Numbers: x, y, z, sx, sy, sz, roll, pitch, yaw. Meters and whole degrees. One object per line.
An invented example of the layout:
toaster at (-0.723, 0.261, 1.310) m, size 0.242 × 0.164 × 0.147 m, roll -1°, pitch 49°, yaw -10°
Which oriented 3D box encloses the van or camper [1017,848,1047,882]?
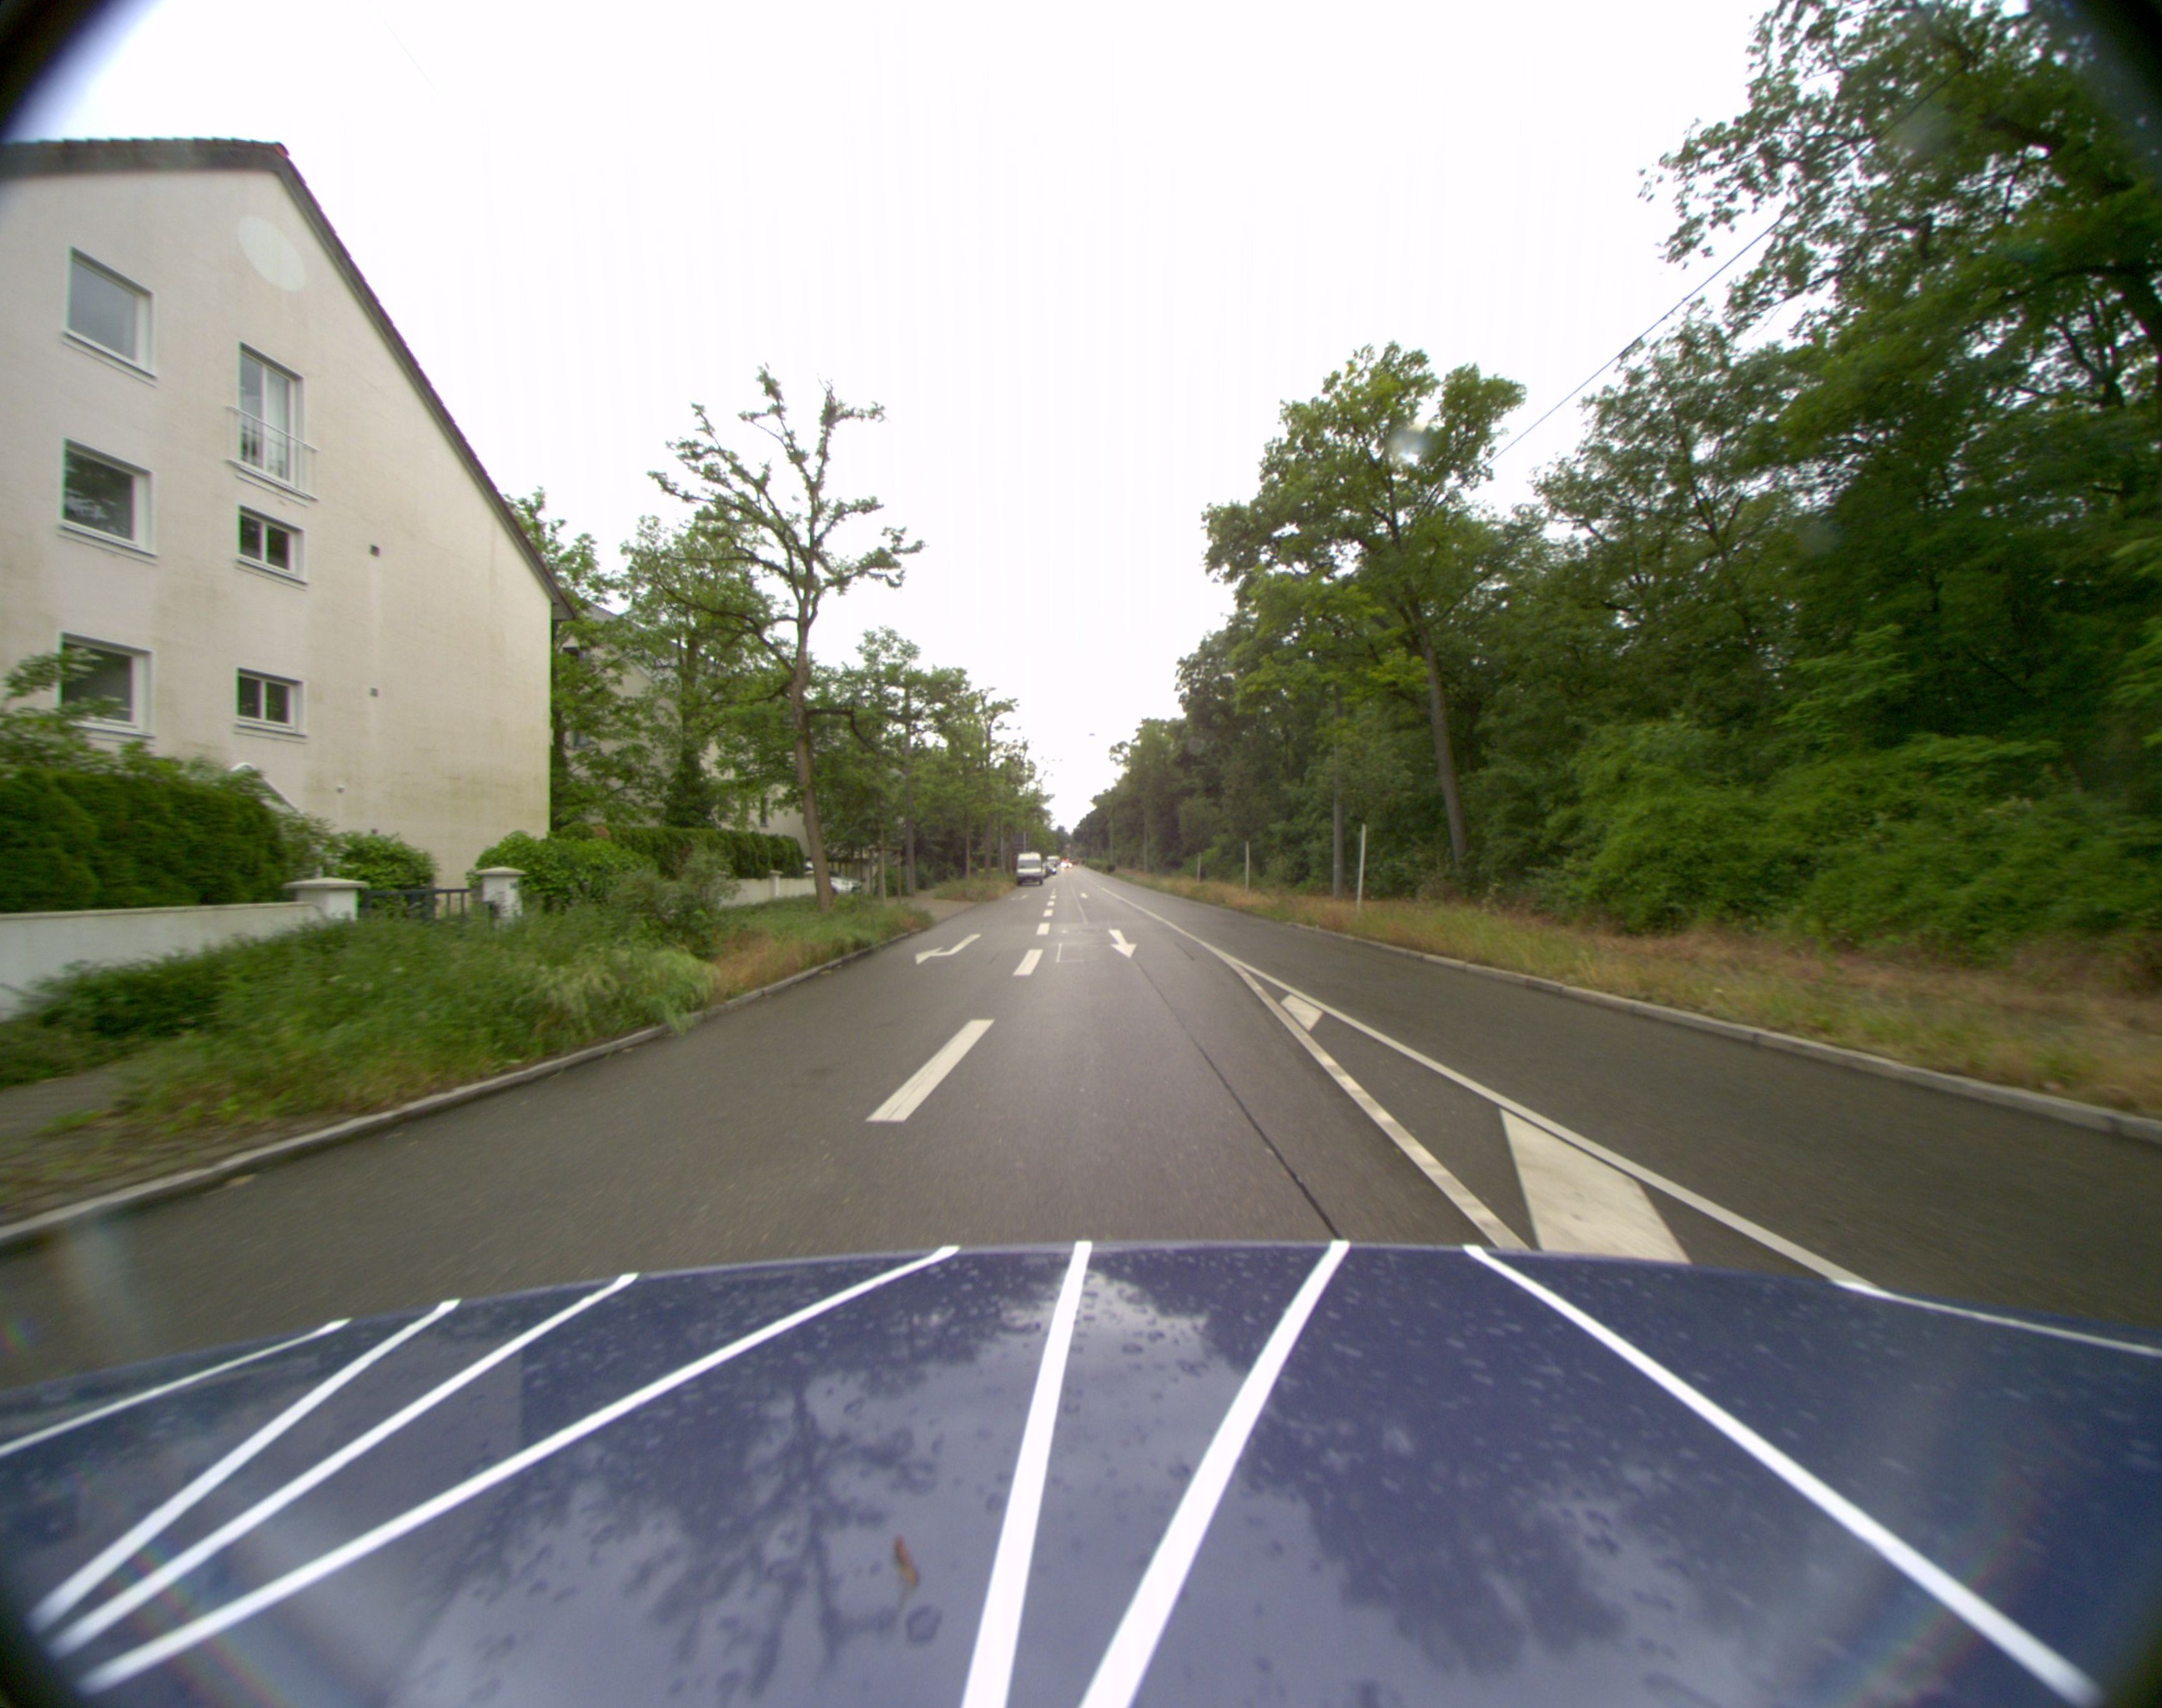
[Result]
van or camper at (-3.860, 0.825, 60.636) m, size 2.042 × 2.465 × 5.637 m, roll -3°, pitch 0°, yaw -2°

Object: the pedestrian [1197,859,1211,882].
pedestrian at (8.387, 1.125, 51.924) m, size 0.783 × 1.598 × 0.732 m, roll 0°, pitch 0°, yaw -2°

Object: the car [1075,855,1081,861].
car at (-0.799, 1.179, 233.960) m, size 1.681 × 1.608 × 4.061 m, roll 1°, pitch 0°, yaw -2°

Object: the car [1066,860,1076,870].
car at (-2.017, 2.276, 156.981) m, size 1.998 × 2.002 × 3.999 m, roll -1°, pitch 1°, yaw 0°

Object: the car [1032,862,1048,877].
car at (-4.295, 1.598, 79.920) m, size 1.576 × 1.463 × 3.764 m, roll -2°, pitch 0°, yaw -1°

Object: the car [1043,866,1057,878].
car at (-3.913, 2.286, 96.504) m, size 1.622 × 1.459 × 4.409 m, roll -2°, pitch 0°, yaw -2°

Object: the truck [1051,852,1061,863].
truck at (-5.630, 0.789, 170.571) m, size 2.230 × 2.321 × 5.112 m, roll 1°, pitch 0°, yaw -2°

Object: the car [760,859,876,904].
car at (-11.323, 1.166, 32.881) m, size 4.312 × 1.807 × 1.876 m, roll -2°, pitch 0°, yaw 9°
